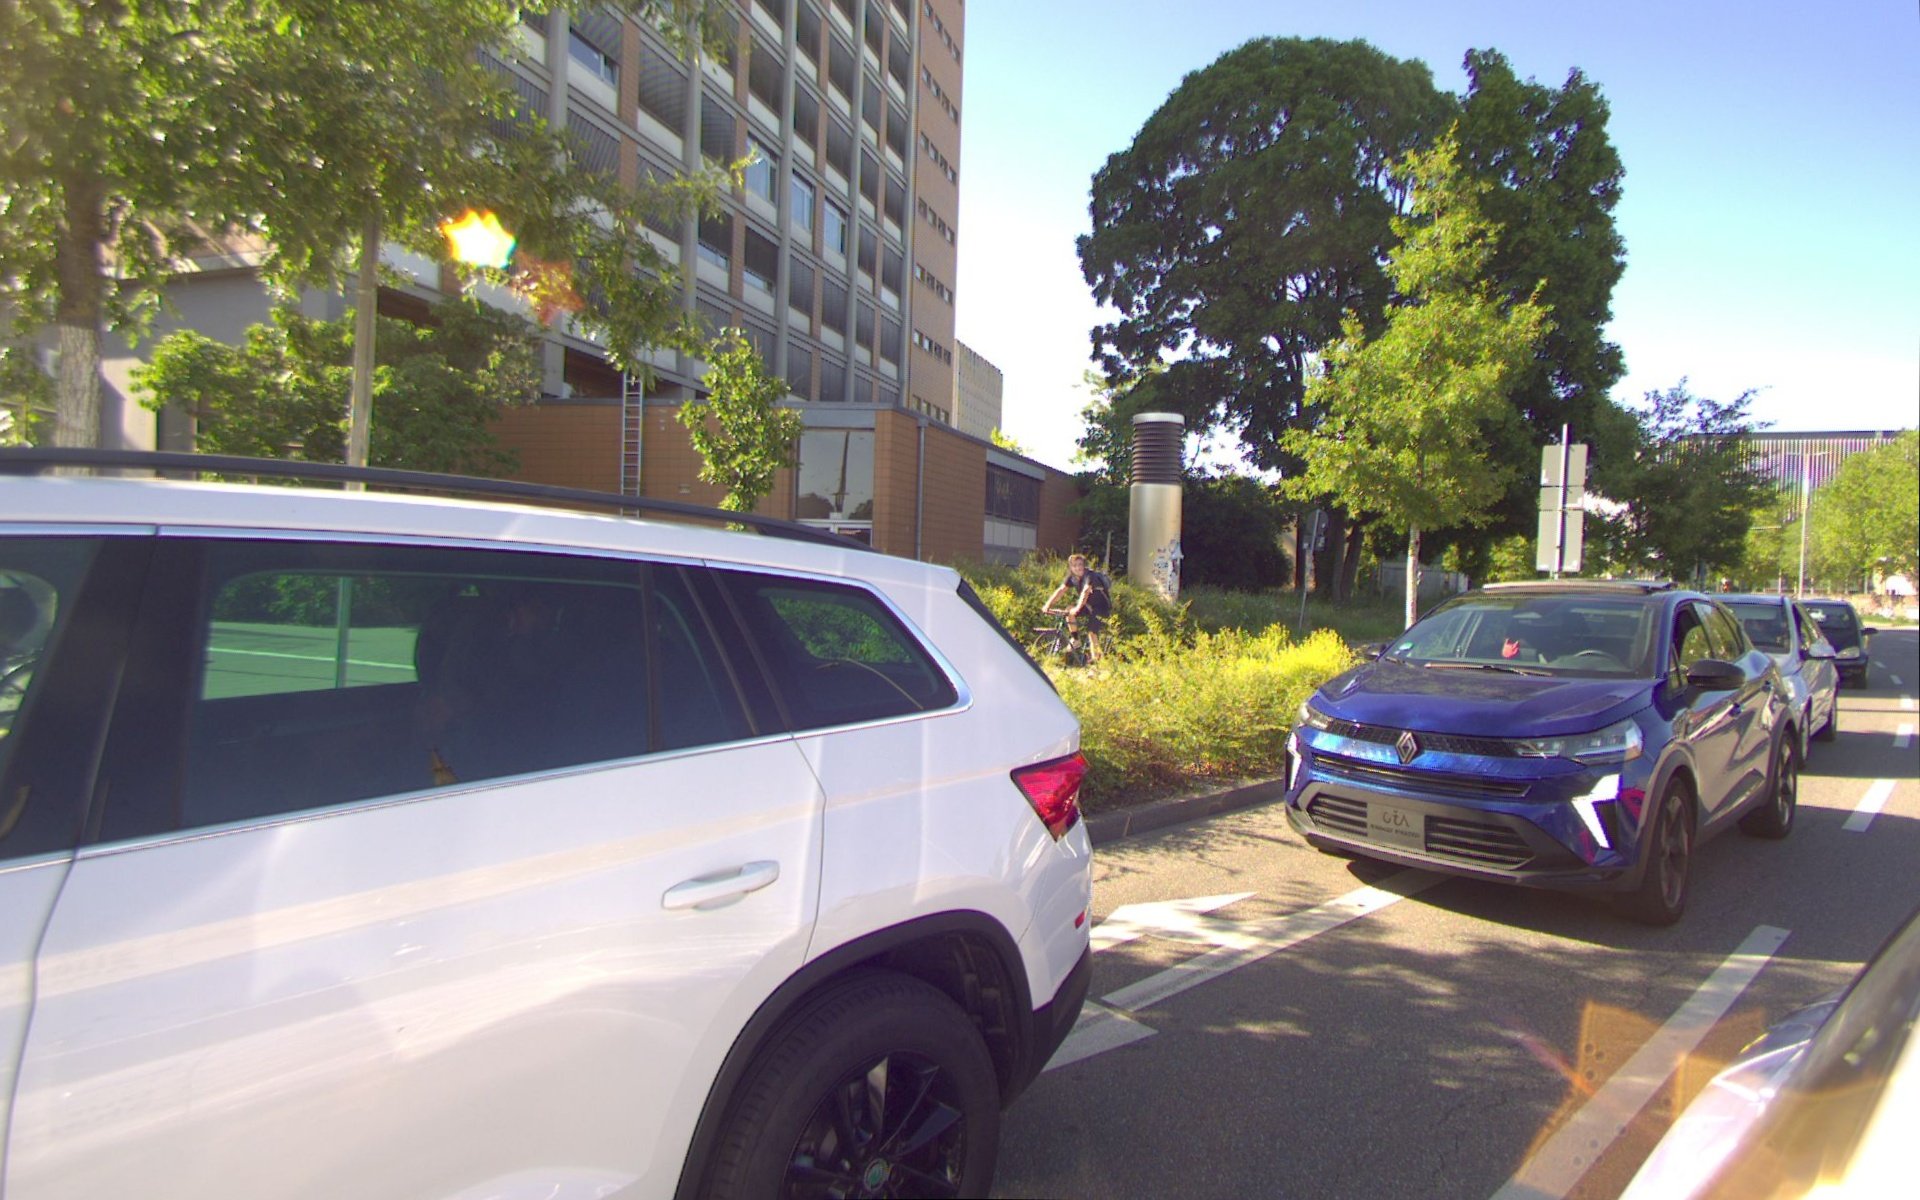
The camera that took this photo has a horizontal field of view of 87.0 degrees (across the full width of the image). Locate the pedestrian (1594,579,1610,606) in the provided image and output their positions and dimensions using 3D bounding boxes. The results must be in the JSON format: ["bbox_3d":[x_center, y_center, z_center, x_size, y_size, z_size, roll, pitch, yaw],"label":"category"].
[{"bbox_3d":[46.079,-0.553,72.690,0.811,1.941,0.767,0,0,20],"label":"pedestrian"}]

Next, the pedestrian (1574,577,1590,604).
[{"bbox_3d":[45.097,-0.680,73.396,0.811,1.941,0.767,0,0,20],"label":"pedestrian"}]

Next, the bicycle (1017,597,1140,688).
[{"bbox_3d":[1.532,0.505,12.910,1.738,1.057,0.517,0,4,-43],"label":"bicycle"}]

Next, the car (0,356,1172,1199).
[{"bbox_3d":[-1.632,0.548,1.652,4.223,1.662,1.697,0,2,-42],"label":"car"}]

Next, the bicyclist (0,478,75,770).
[{"bbox_3d":[-5.687,0.125,5.732,0.959,1.618,0.687,1,0,-39],"label":"bicyclist"}]

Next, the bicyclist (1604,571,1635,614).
[{"bbox_3d":[20.949,-0.236,32.147,0.717,1.294,0.897,4,3,31],"label":"bicyclist"}]

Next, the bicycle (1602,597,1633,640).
[{"bbox_3d":[20.943,0.572,32.263,0.687,1.232,1.814,4,3,31],"label":"bicycle"}]

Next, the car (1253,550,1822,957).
[{"bbox_3d":[3.619,0.599,6.011,4.012,1.626,1.704,0,1,-41],"label":"car"}]

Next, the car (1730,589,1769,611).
[{"bbox_3d":[61.907,-0.009,79.402,1.578,1.625,3.048,2,1,23],"label":"car"}]

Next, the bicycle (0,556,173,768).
[{"bbox_3d":[-5.667,0.335,5.761,1.849,1.178,0.687,1,0,-39],"label":"bicycle"}]

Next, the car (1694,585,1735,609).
[{"bbox_3d":[65.297,-0.285,87.616,1.767,2.039,4.201,1,1,22],"label":"car"}]

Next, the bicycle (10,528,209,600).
[{"bbox_3d":[-17.542,-0.720,21.010,0.790,1.394,3.111,2,1,26],"label":"bicycle"}]

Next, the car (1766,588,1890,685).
[{"bbox_3d":[16.622,0.622,19.339,1.646,1.631,3.435,3,2,43],"label":"car"}]

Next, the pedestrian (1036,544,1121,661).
[{"bbox_3d":[1.516,0.025,12.903,0.945,1.419,0.517,0,3,-43],"label":"pedestrian"}]

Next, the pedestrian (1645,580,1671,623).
[{"bbox_3d":[27.392,0.051,39.727,0.685,1.624,0.656,2,1,24],"label":"pedestrian"}]

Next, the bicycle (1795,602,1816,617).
[{"bbox_3d":[52.225,0.569,62.501,0.584,0.900,1.640,0,0,25],"label":"bicycle"}]

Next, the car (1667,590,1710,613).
[{"bbox_3d":[48.545,0.075,67.482,1.735,1.494,3.542,0,1,26],"label":"car"}]

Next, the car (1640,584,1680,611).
[{"bbox_3d":[51.118,-0.175,73.952,1.811,1.876,3.717,2,1,27],"label":"car"}]

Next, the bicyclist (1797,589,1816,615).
[{"bbox_3d":[52.227,0.140,62.463,0.688,1.578,0.809,0,0,25],"label":"bicyclist"}]

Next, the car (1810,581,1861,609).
[{"bbox_3d":[55.893,-0.319,64.670,1.509,1.700,3.353,1,0,24],"label":"car"}]

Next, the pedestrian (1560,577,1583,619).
[{"bbox_3d":[24.317,-0.090,40.266,0.687,1.624,0.655,2,1,29],"label":"pedestrian"}]

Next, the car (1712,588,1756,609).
[{"bbox_3d":[52.361,-0.119,68.483,1.736,1.396,3.540,1,1,27],"label":"car"}]

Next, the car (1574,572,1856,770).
[{"bbox_3d":[8.052,0.590,10.648,3.977,1.644,1.782,0,2,-45],"label":"car"}]
